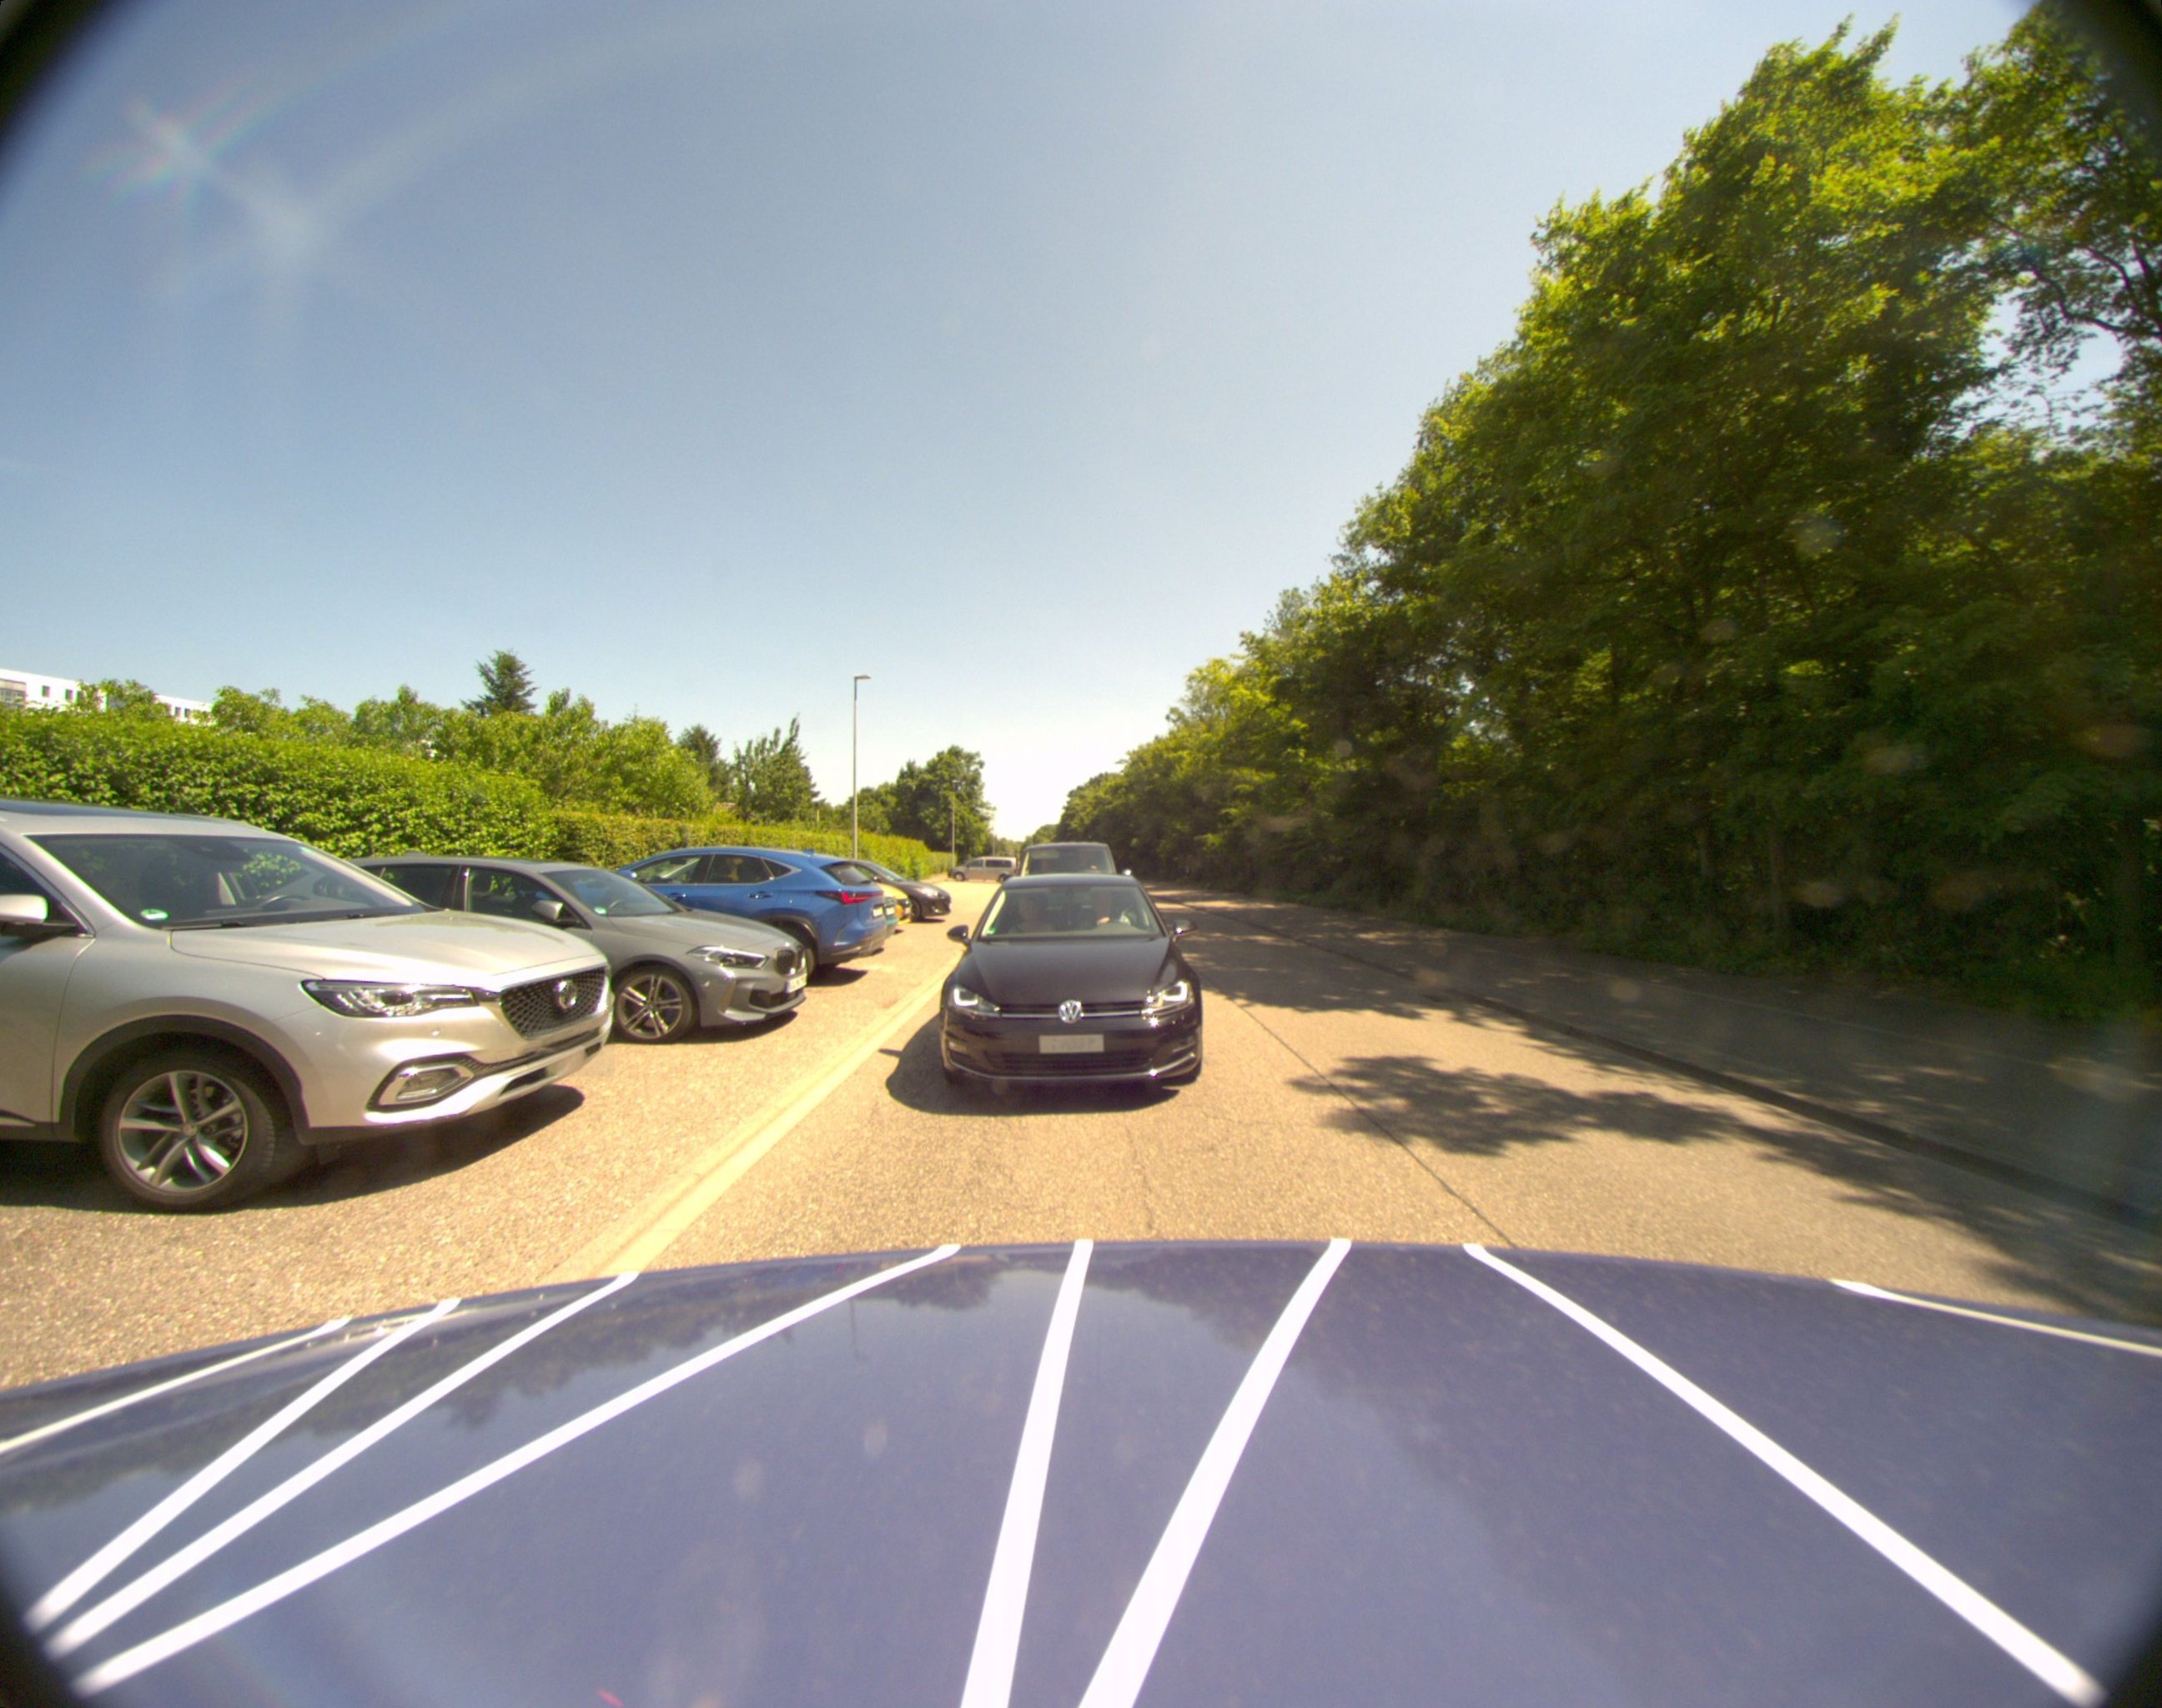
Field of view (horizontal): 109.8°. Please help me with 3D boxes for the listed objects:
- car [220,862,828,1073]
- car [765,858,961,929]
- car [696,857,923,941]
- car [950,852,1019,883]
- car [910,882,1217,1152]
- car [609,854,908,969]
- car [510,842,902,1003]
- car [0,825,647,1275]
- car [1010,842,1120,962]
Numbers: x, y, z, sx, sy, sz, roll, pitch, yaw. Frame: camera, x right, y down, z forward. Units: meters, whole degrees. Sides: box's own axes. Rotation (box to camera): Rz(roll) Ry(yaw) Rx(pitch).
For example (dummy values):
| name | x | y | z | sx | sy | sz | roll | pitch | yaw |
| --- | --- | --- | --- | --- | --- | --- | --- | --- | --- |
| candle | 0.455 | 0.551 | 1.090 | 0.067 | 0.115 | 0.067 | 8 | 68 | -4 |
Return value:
| name | x | y | z | sx | sy | sz | roll | pitch | yaw |
| --- | --- | --- | --- | --- | --- | --- | --- | --- | --- |
| car | -4.565 | 0.891 | 6.698 | 4.036 | 1.401 | 1.679 | 3 | 0 | -1 |
| car | -5.234 | 0.930 | 18.625 | 4.252 | 1.410 | 1.649 | 3 | 0 | 0 |
| car | -5.498 | 0.882 | 15.714 | 4.036 | 1.438 | 1.649 | 3 | 0 | 0 |
| car | -6.579 | 0.929 | 52.228 | 4.493 | 1.840 | 1.695 | 3 | 0 | -4 |
| car | -0.130 | 1.011 | 6.544 | 1.743 | 1.396 | 4.388 | -1 | 0 | -1 |
| car | -5.029 | 0.863 | 12.227 | 4.036 | 1.505 | 1.649 | 3 | 0 | 0 |
| car | -4.510 | 0.791 | 9.573 | 4.036 | 1.632 | 1.673 | 3 | 0 | 0 |
| car | -4.817 | 0.734 | 3.804 | 4.170 | 1.632 | 1.775 | 3 | 0 | -2 |
| car | -0.286 | 0.788 | 14.401 | 1.743 | 1.904 | 4.388 | -1 | 0 | -1 |
